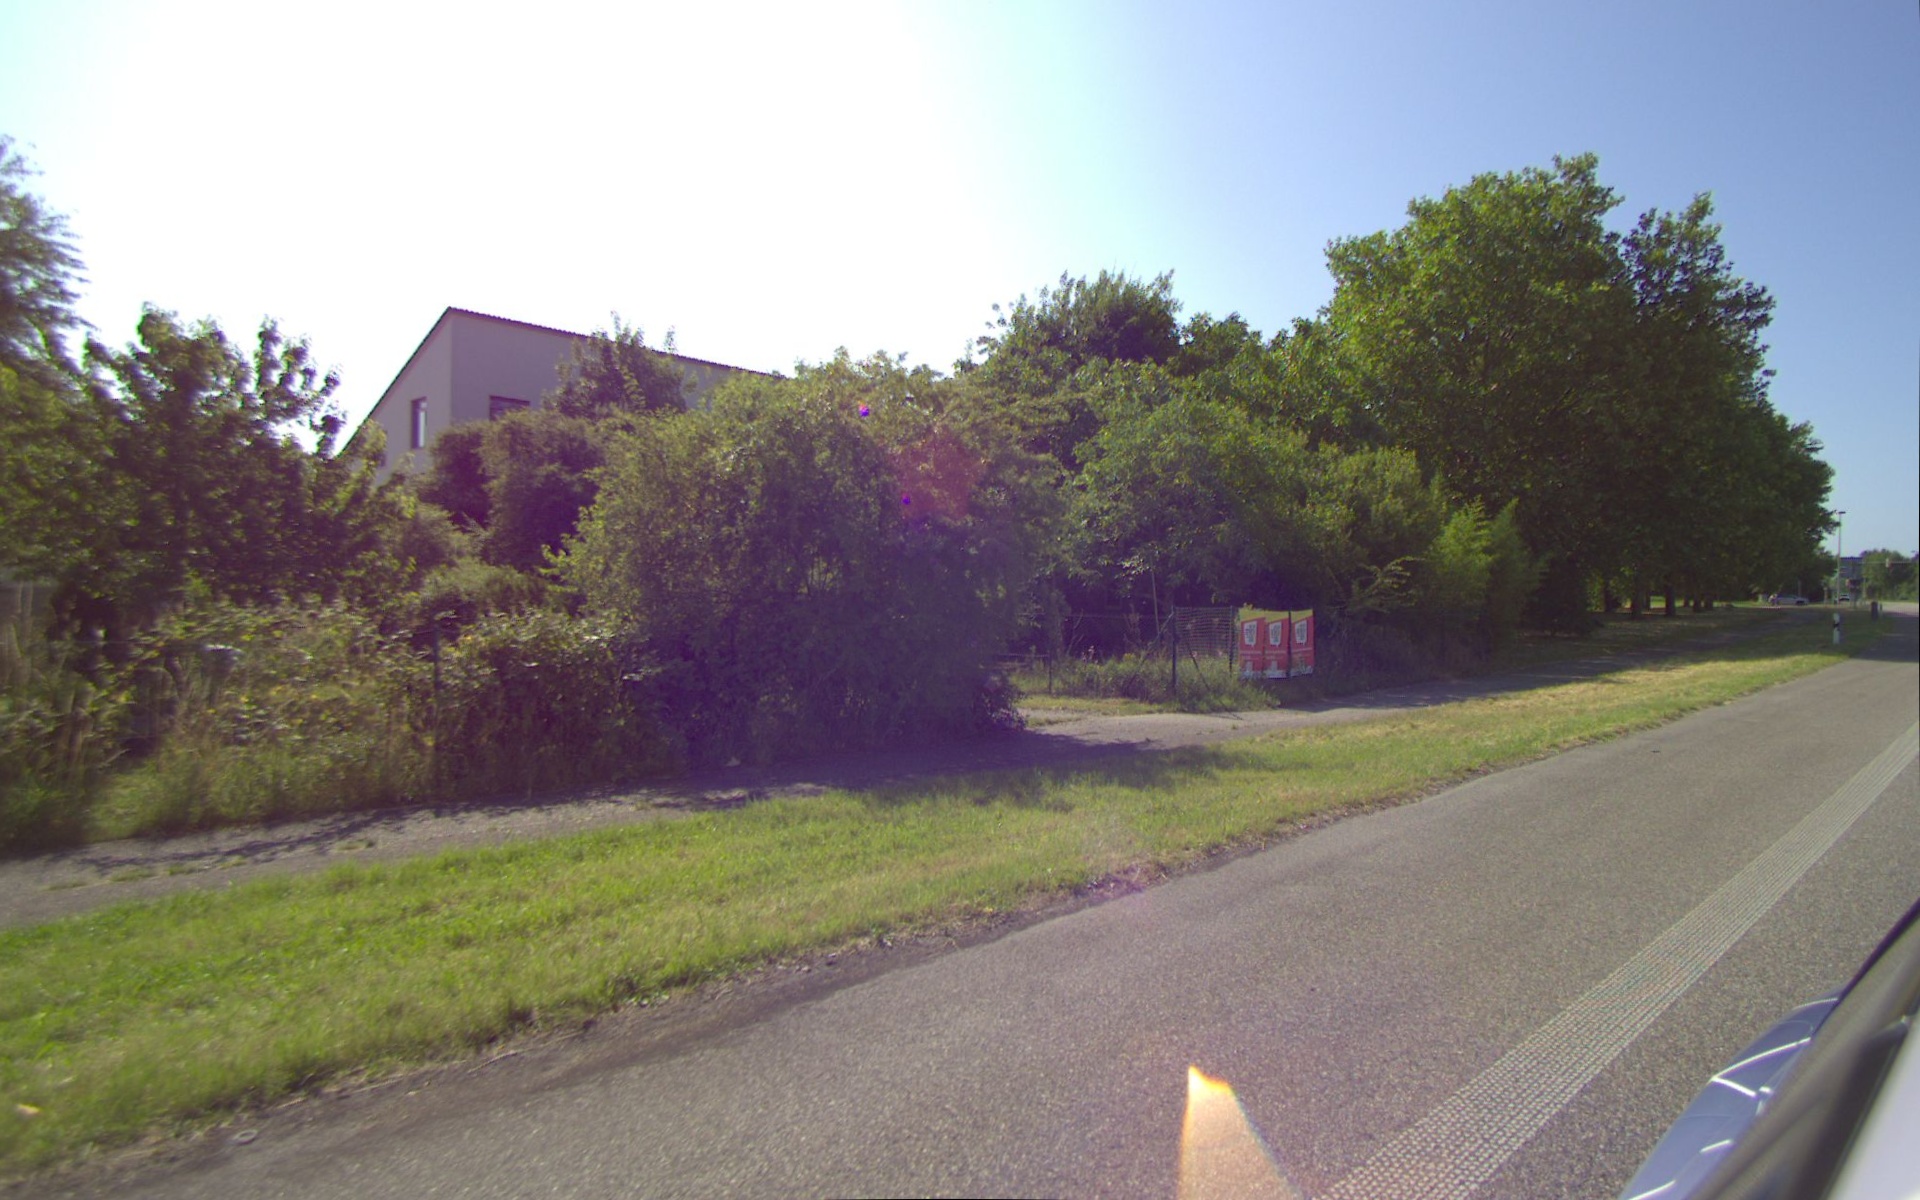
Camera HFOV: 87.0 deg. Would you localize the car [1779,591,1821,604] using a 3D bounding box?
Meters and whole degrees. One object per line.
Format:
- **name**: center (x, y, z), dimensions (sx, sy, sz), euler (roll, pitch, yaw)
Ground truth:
- **car**: center (107.206, -0.259, 129.167), dimensions (4.047, 1.584, 1.717), euler (-1, 0, 41)
